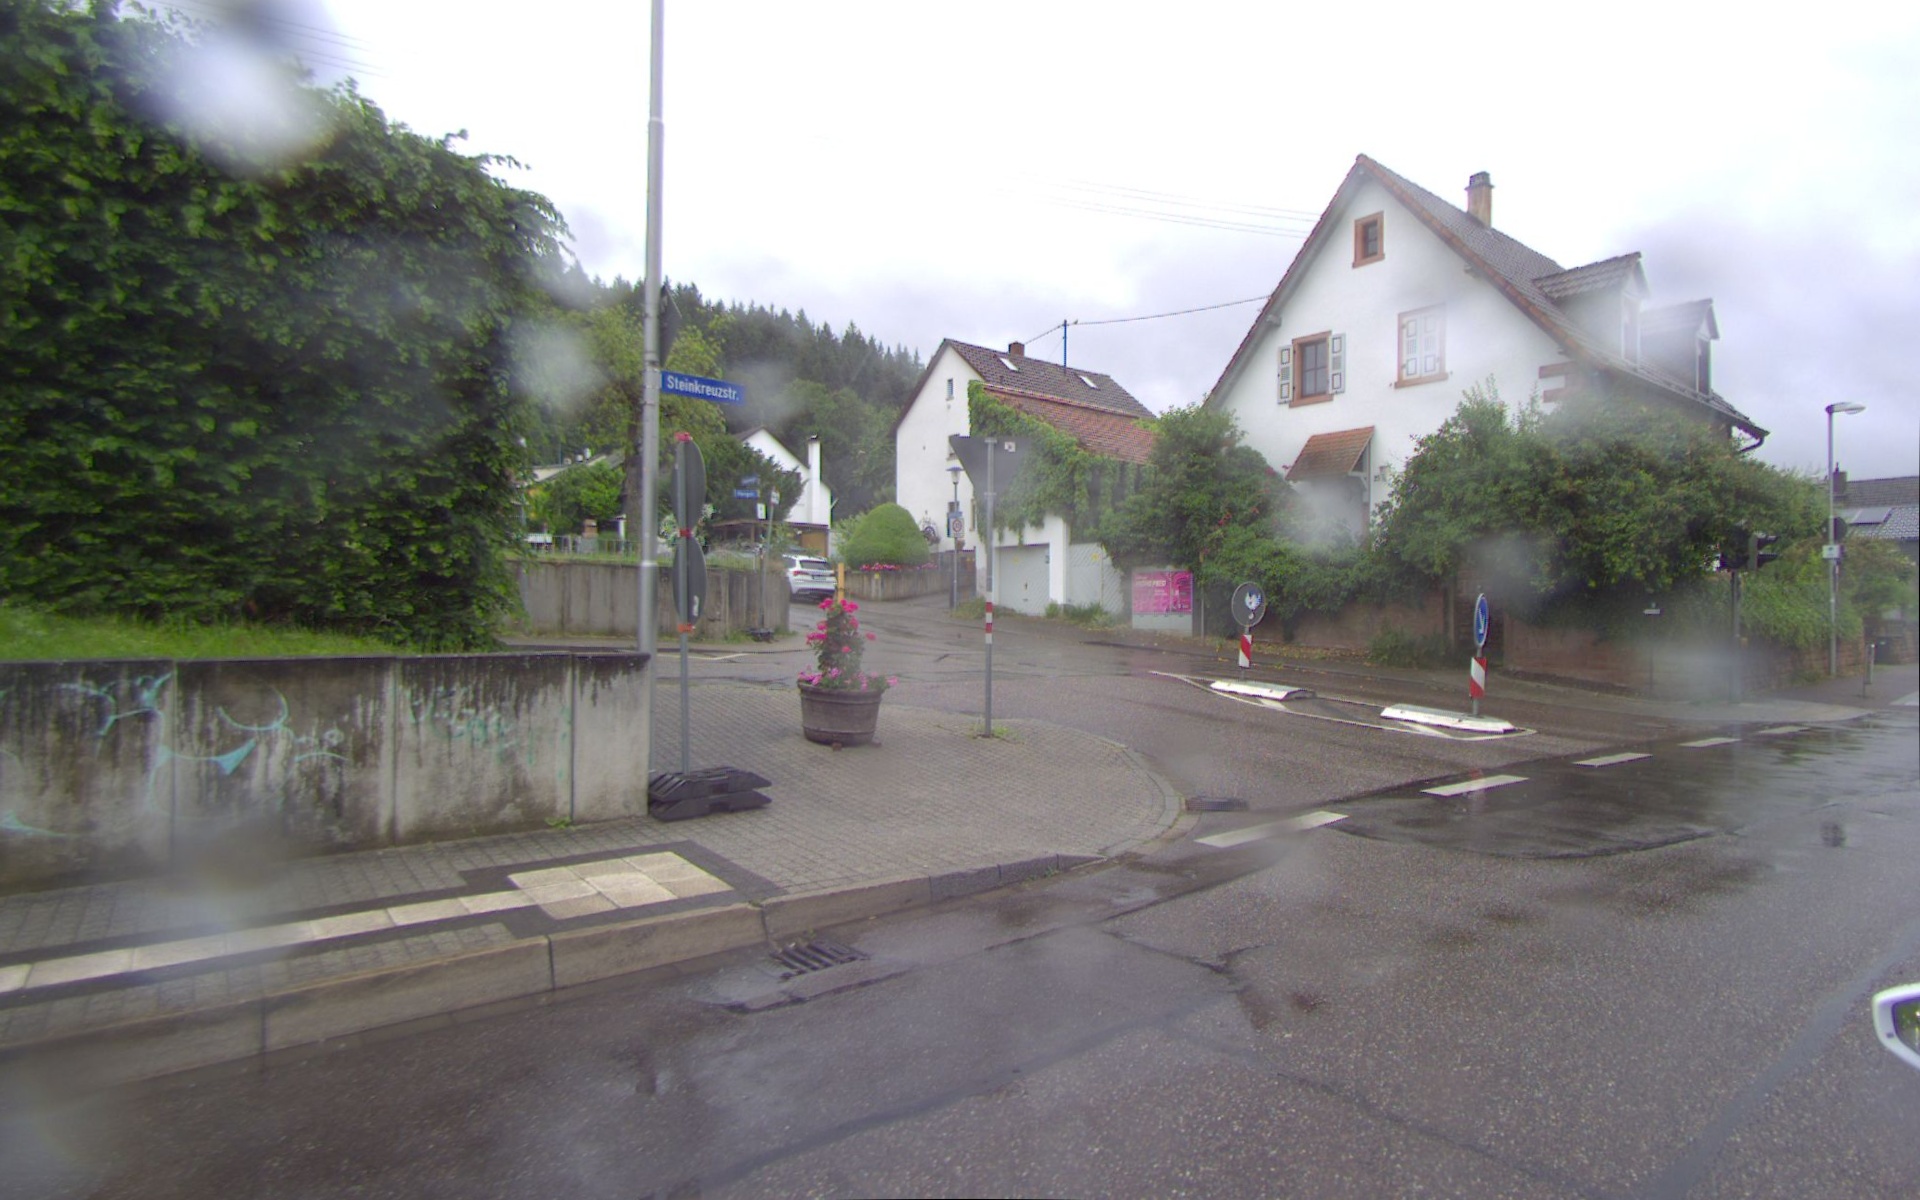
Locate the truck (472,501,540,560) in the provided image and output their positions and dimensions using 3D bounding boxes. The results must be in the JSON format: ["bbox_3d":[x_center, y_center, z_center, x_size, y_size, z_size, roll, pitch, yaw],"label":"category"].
[{"bbox_3d":[-28.242,-4.275,62.333,2.431,3.397,6.586,1,2,-37],"label":"truck"}]

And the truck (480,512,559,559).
[{"bbox_3d":[-22.597,-3.265,51.380,2.280,2.155,6.012,1,2,-38],"label":"truck"}]

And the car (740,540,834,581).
[{"bbox_3d":[-8.059,-1.836,46.886,3.858,1.534,1.879,2,6,-39],"label":"car"}]

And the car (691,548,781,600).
[{"bbox_3d":[-8.653,-1.012,38.594,1.883,1.534,3.849,2,6,-37],"label":"car"}]

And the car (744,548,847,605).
[{"bbox_3d":[-5.753,-0.852,34.917,1.883,1.534,3.849,2,6,-37],"label":"car"}]
